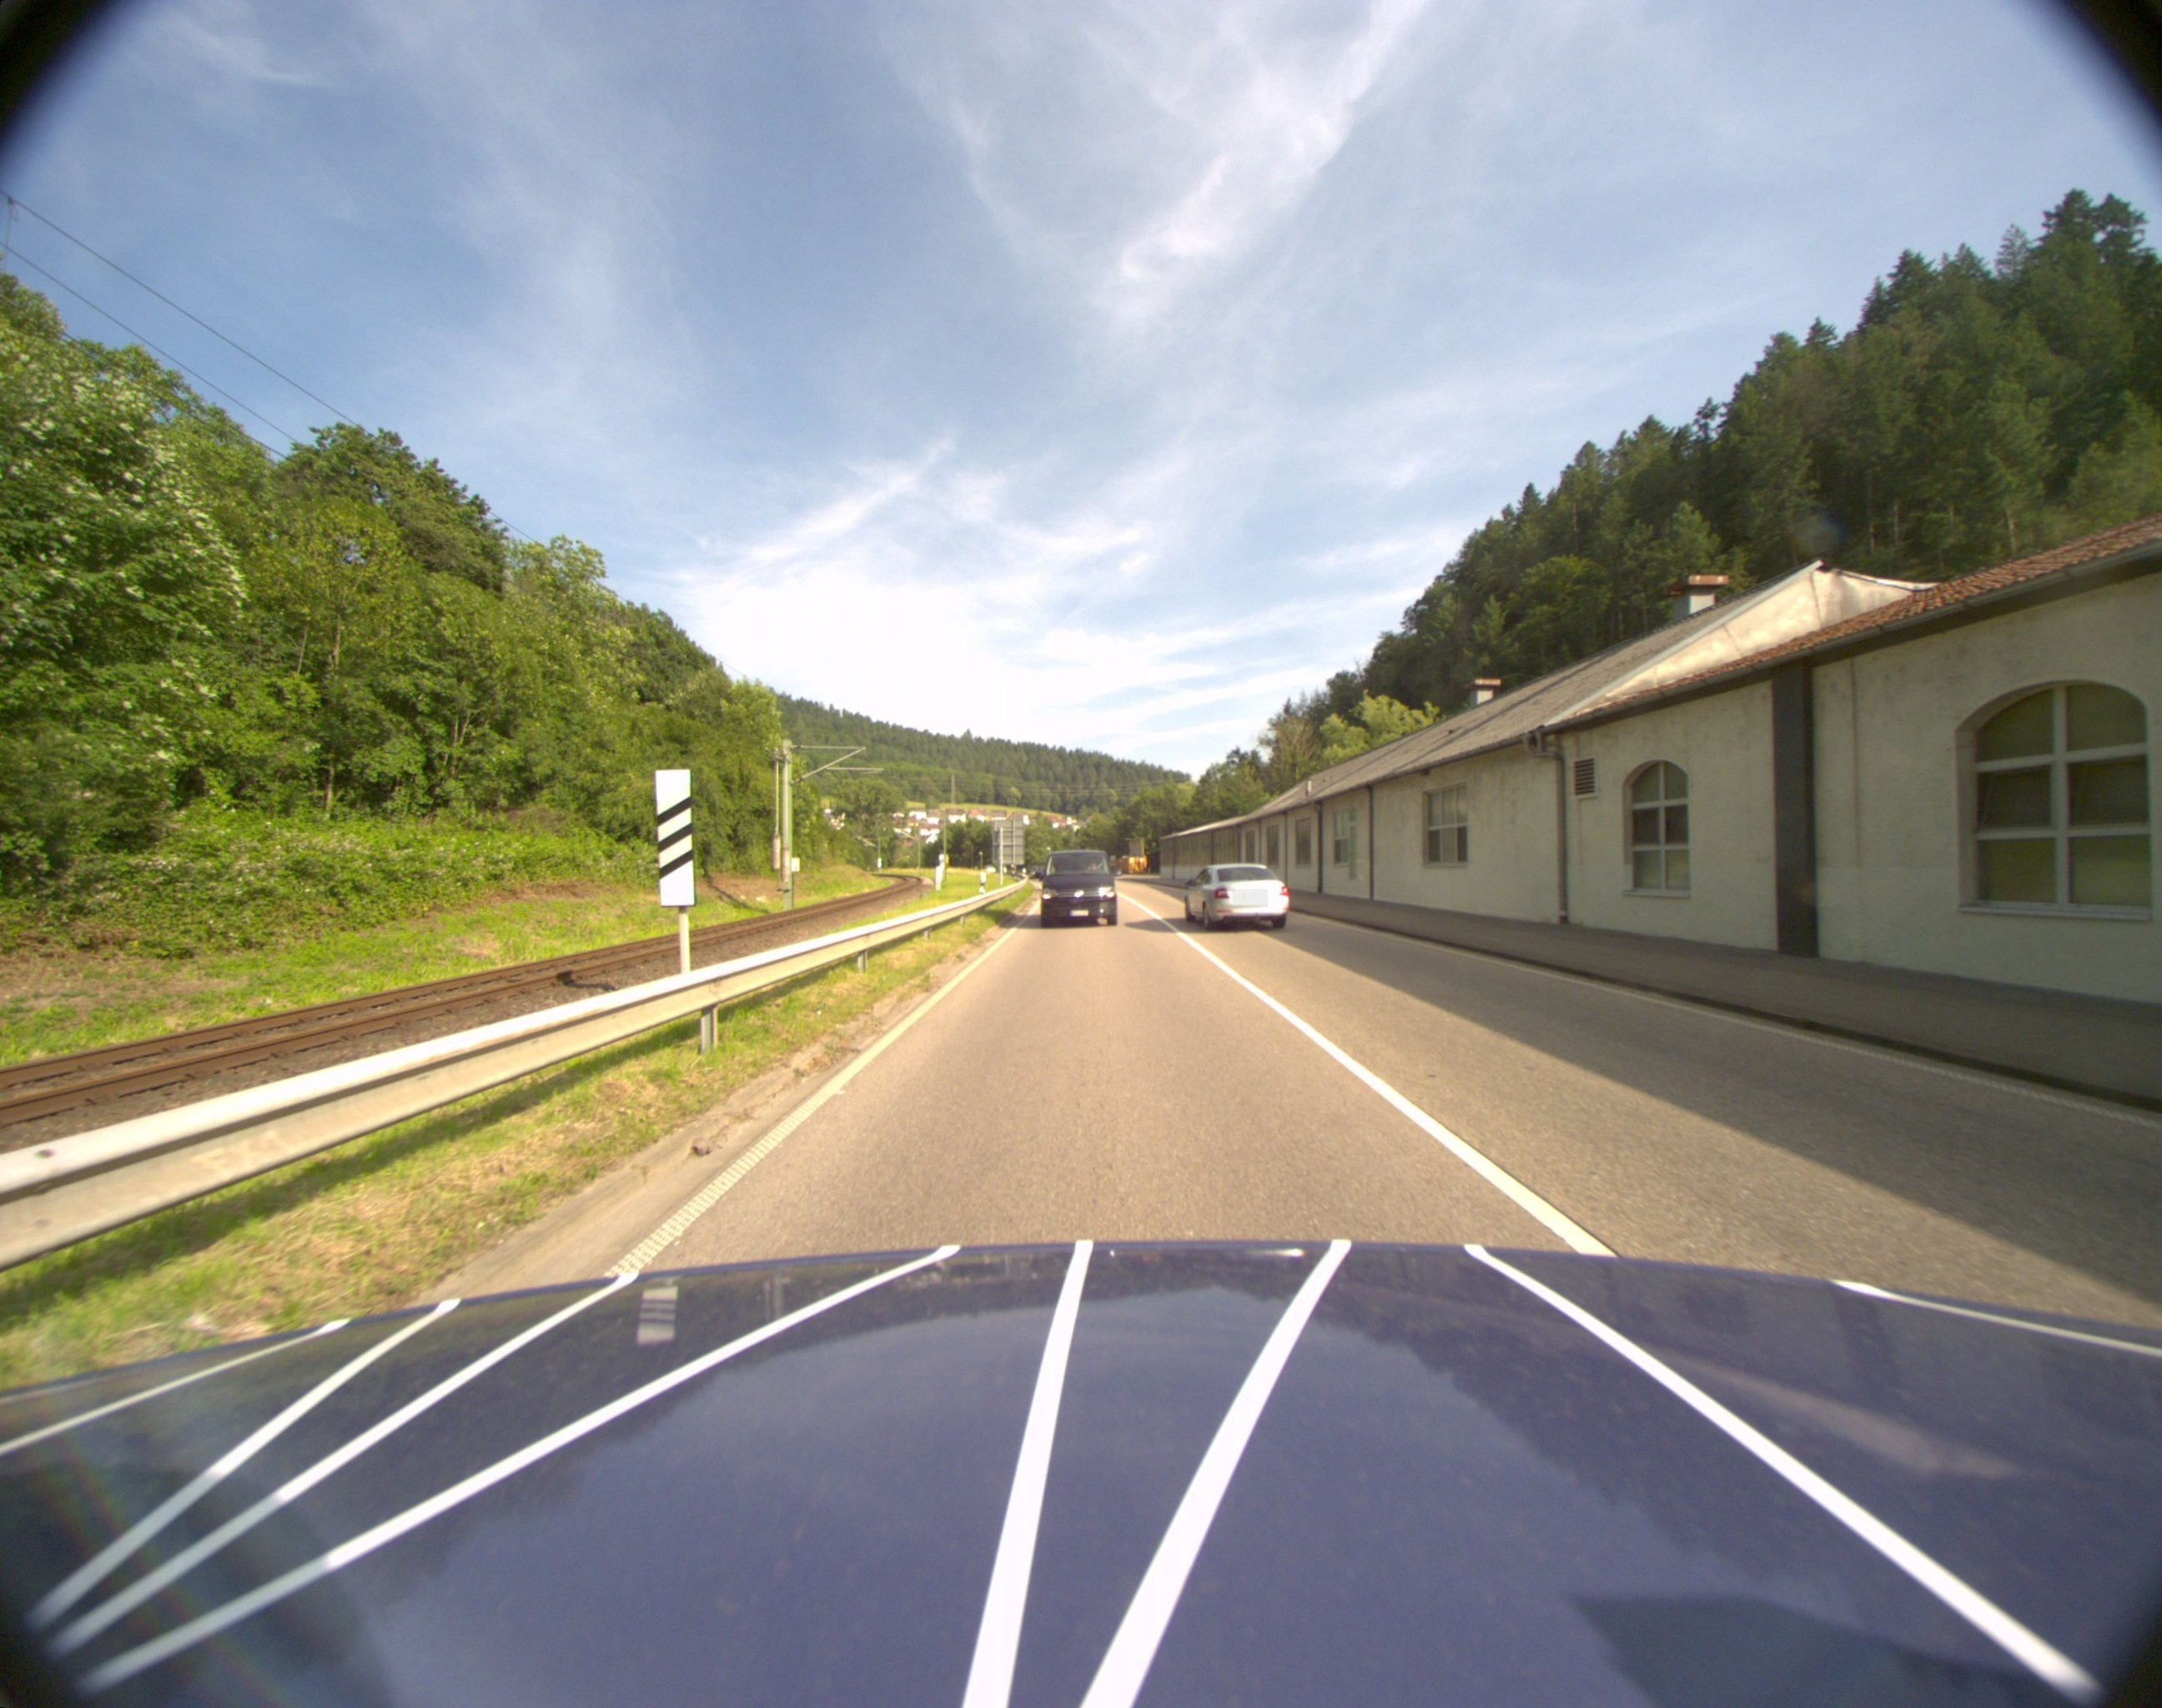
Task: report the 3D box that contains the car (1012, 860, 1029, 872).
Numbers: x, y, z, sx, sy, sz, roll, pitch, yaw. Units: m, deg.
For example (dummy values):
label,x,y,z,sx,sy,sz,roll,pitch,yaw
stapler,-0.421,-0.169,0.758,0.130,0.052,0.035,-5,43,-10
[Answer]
label,x,y,z,sx,sy,sz,roll,pitch,yaw
car,-8.257,1.655,103.022,1.874,1.583,4.049,-2,0,-10

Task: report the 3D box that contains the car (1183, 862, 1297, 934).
label,x,y,z,sx,sy,sz,roll,pitch,yaw
car,3.543,0.925,17.647,1.744,1.384,4.109,-2,0,0

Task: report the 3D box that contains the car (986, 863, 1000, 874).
label,x,y,z,sx,sy,sz,roll,pitch,yaw
car,-16.479,2.740,142.516,2.001,2.002,3.995,-3,0,-16

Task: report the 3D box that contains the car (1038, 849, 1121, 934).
label,x,y,z,sx,sy,sz,roll,pitch,yaw
car,-0.128,0.899,20.494,1.901,1.927,5.188,-2,0,-2

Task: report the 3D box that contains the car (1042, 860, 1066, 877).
label,x,y,z,sx,sy,sz,roll,pitch,yaw
car,-2.739,1.477,76.206,1.874,1.583,4.049,-2,-1,-10

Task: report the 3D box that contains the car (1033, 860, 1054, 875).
label,x,y,z,sx,sy,sz,roll,pitch,yaw
car,-4.310,1.562,86.949,1.874,1.583,4.049,-2,-1,-10

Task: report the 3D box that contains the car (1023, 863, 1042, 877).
label,x,y,z,sx,sy,sz,roll,pitch,yaw
car,-7.300,2.357,114.563,2.001,2.002,3.994,-3,0,-16
